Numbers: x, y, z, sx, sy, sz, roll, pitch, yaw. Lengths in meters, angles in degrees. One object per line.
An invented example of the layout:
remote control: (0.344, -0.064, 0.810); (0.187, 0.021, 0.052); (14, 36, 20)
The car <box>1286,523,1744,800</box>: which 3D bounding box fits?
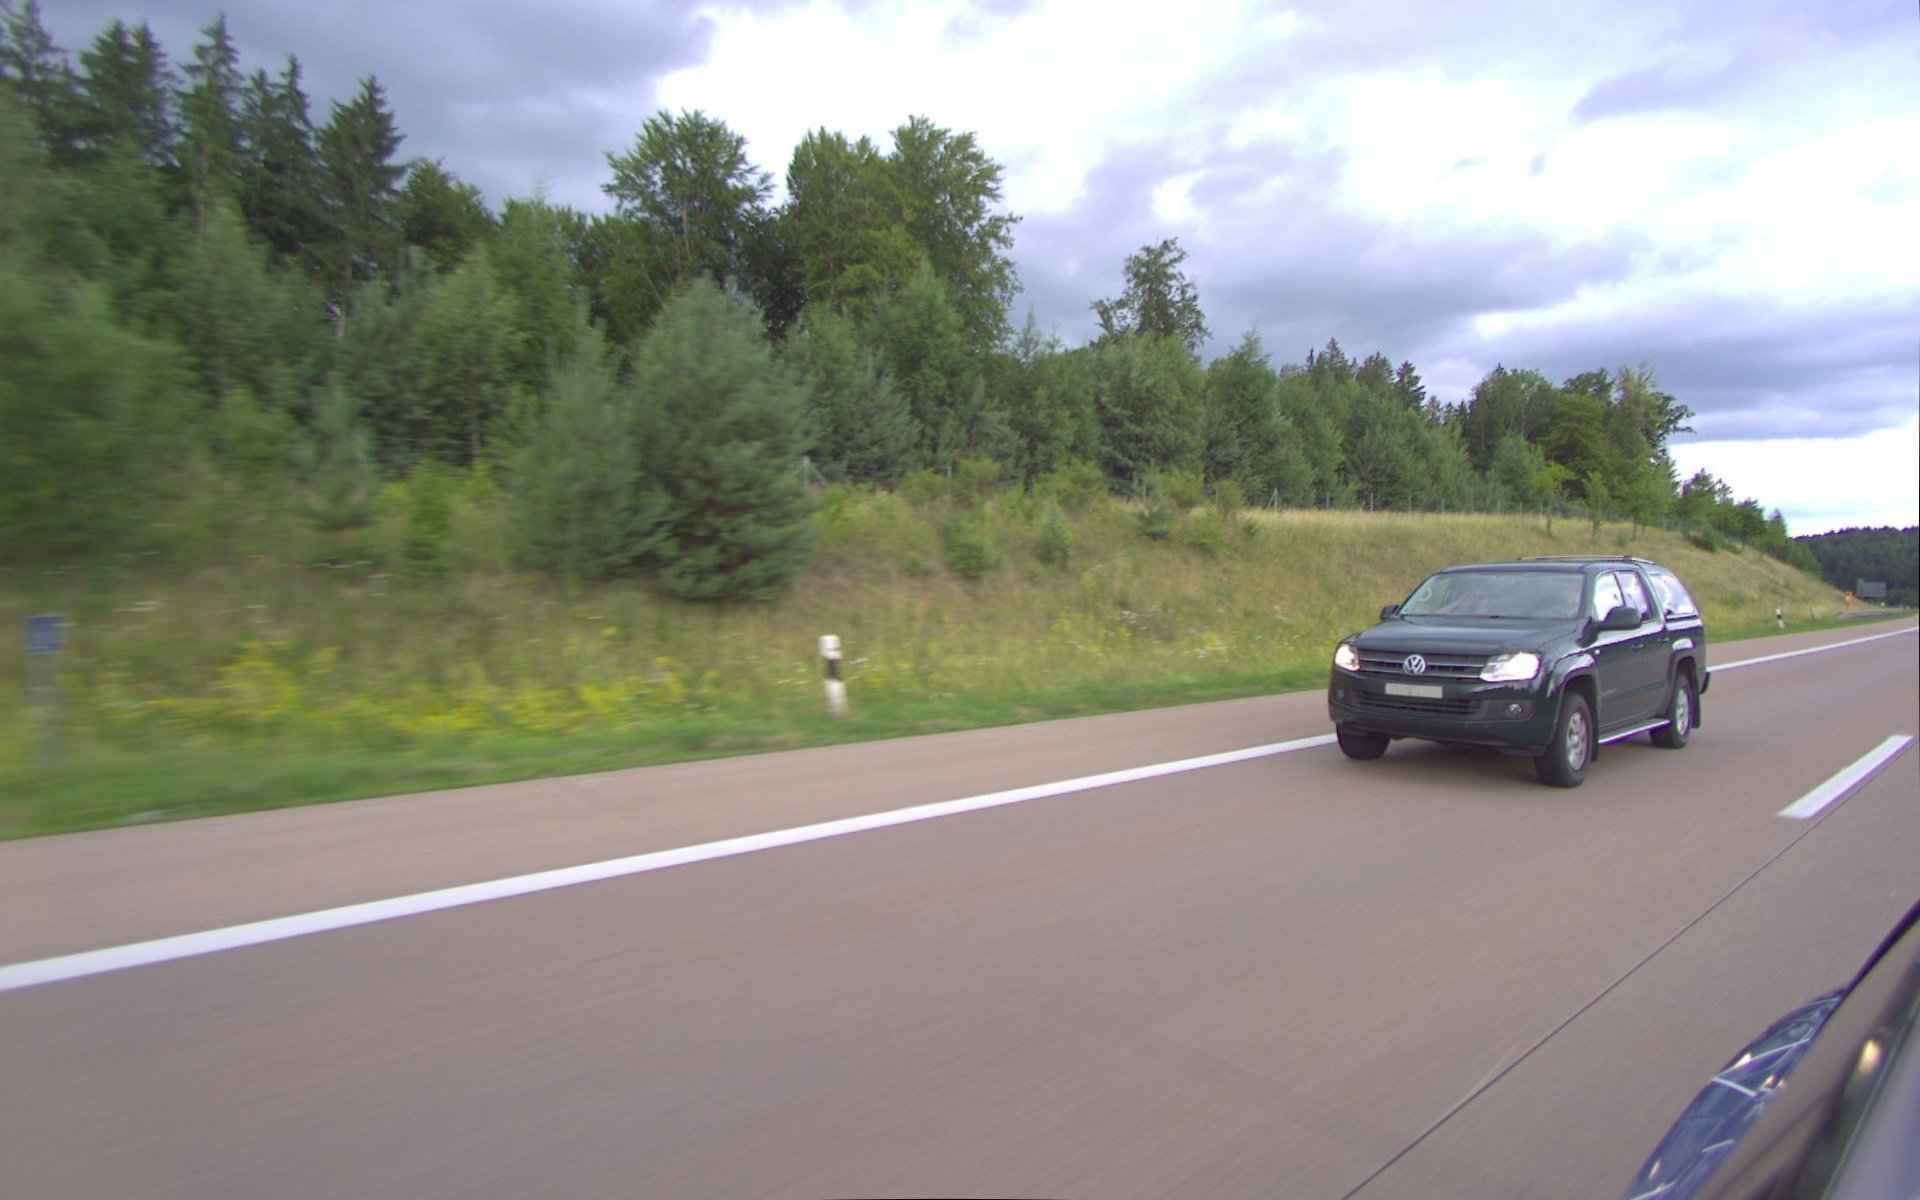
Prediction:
car: (5.494, 0.378, 9.602); (5.480, 1.920, 2.048); (-1, 1, -41)
